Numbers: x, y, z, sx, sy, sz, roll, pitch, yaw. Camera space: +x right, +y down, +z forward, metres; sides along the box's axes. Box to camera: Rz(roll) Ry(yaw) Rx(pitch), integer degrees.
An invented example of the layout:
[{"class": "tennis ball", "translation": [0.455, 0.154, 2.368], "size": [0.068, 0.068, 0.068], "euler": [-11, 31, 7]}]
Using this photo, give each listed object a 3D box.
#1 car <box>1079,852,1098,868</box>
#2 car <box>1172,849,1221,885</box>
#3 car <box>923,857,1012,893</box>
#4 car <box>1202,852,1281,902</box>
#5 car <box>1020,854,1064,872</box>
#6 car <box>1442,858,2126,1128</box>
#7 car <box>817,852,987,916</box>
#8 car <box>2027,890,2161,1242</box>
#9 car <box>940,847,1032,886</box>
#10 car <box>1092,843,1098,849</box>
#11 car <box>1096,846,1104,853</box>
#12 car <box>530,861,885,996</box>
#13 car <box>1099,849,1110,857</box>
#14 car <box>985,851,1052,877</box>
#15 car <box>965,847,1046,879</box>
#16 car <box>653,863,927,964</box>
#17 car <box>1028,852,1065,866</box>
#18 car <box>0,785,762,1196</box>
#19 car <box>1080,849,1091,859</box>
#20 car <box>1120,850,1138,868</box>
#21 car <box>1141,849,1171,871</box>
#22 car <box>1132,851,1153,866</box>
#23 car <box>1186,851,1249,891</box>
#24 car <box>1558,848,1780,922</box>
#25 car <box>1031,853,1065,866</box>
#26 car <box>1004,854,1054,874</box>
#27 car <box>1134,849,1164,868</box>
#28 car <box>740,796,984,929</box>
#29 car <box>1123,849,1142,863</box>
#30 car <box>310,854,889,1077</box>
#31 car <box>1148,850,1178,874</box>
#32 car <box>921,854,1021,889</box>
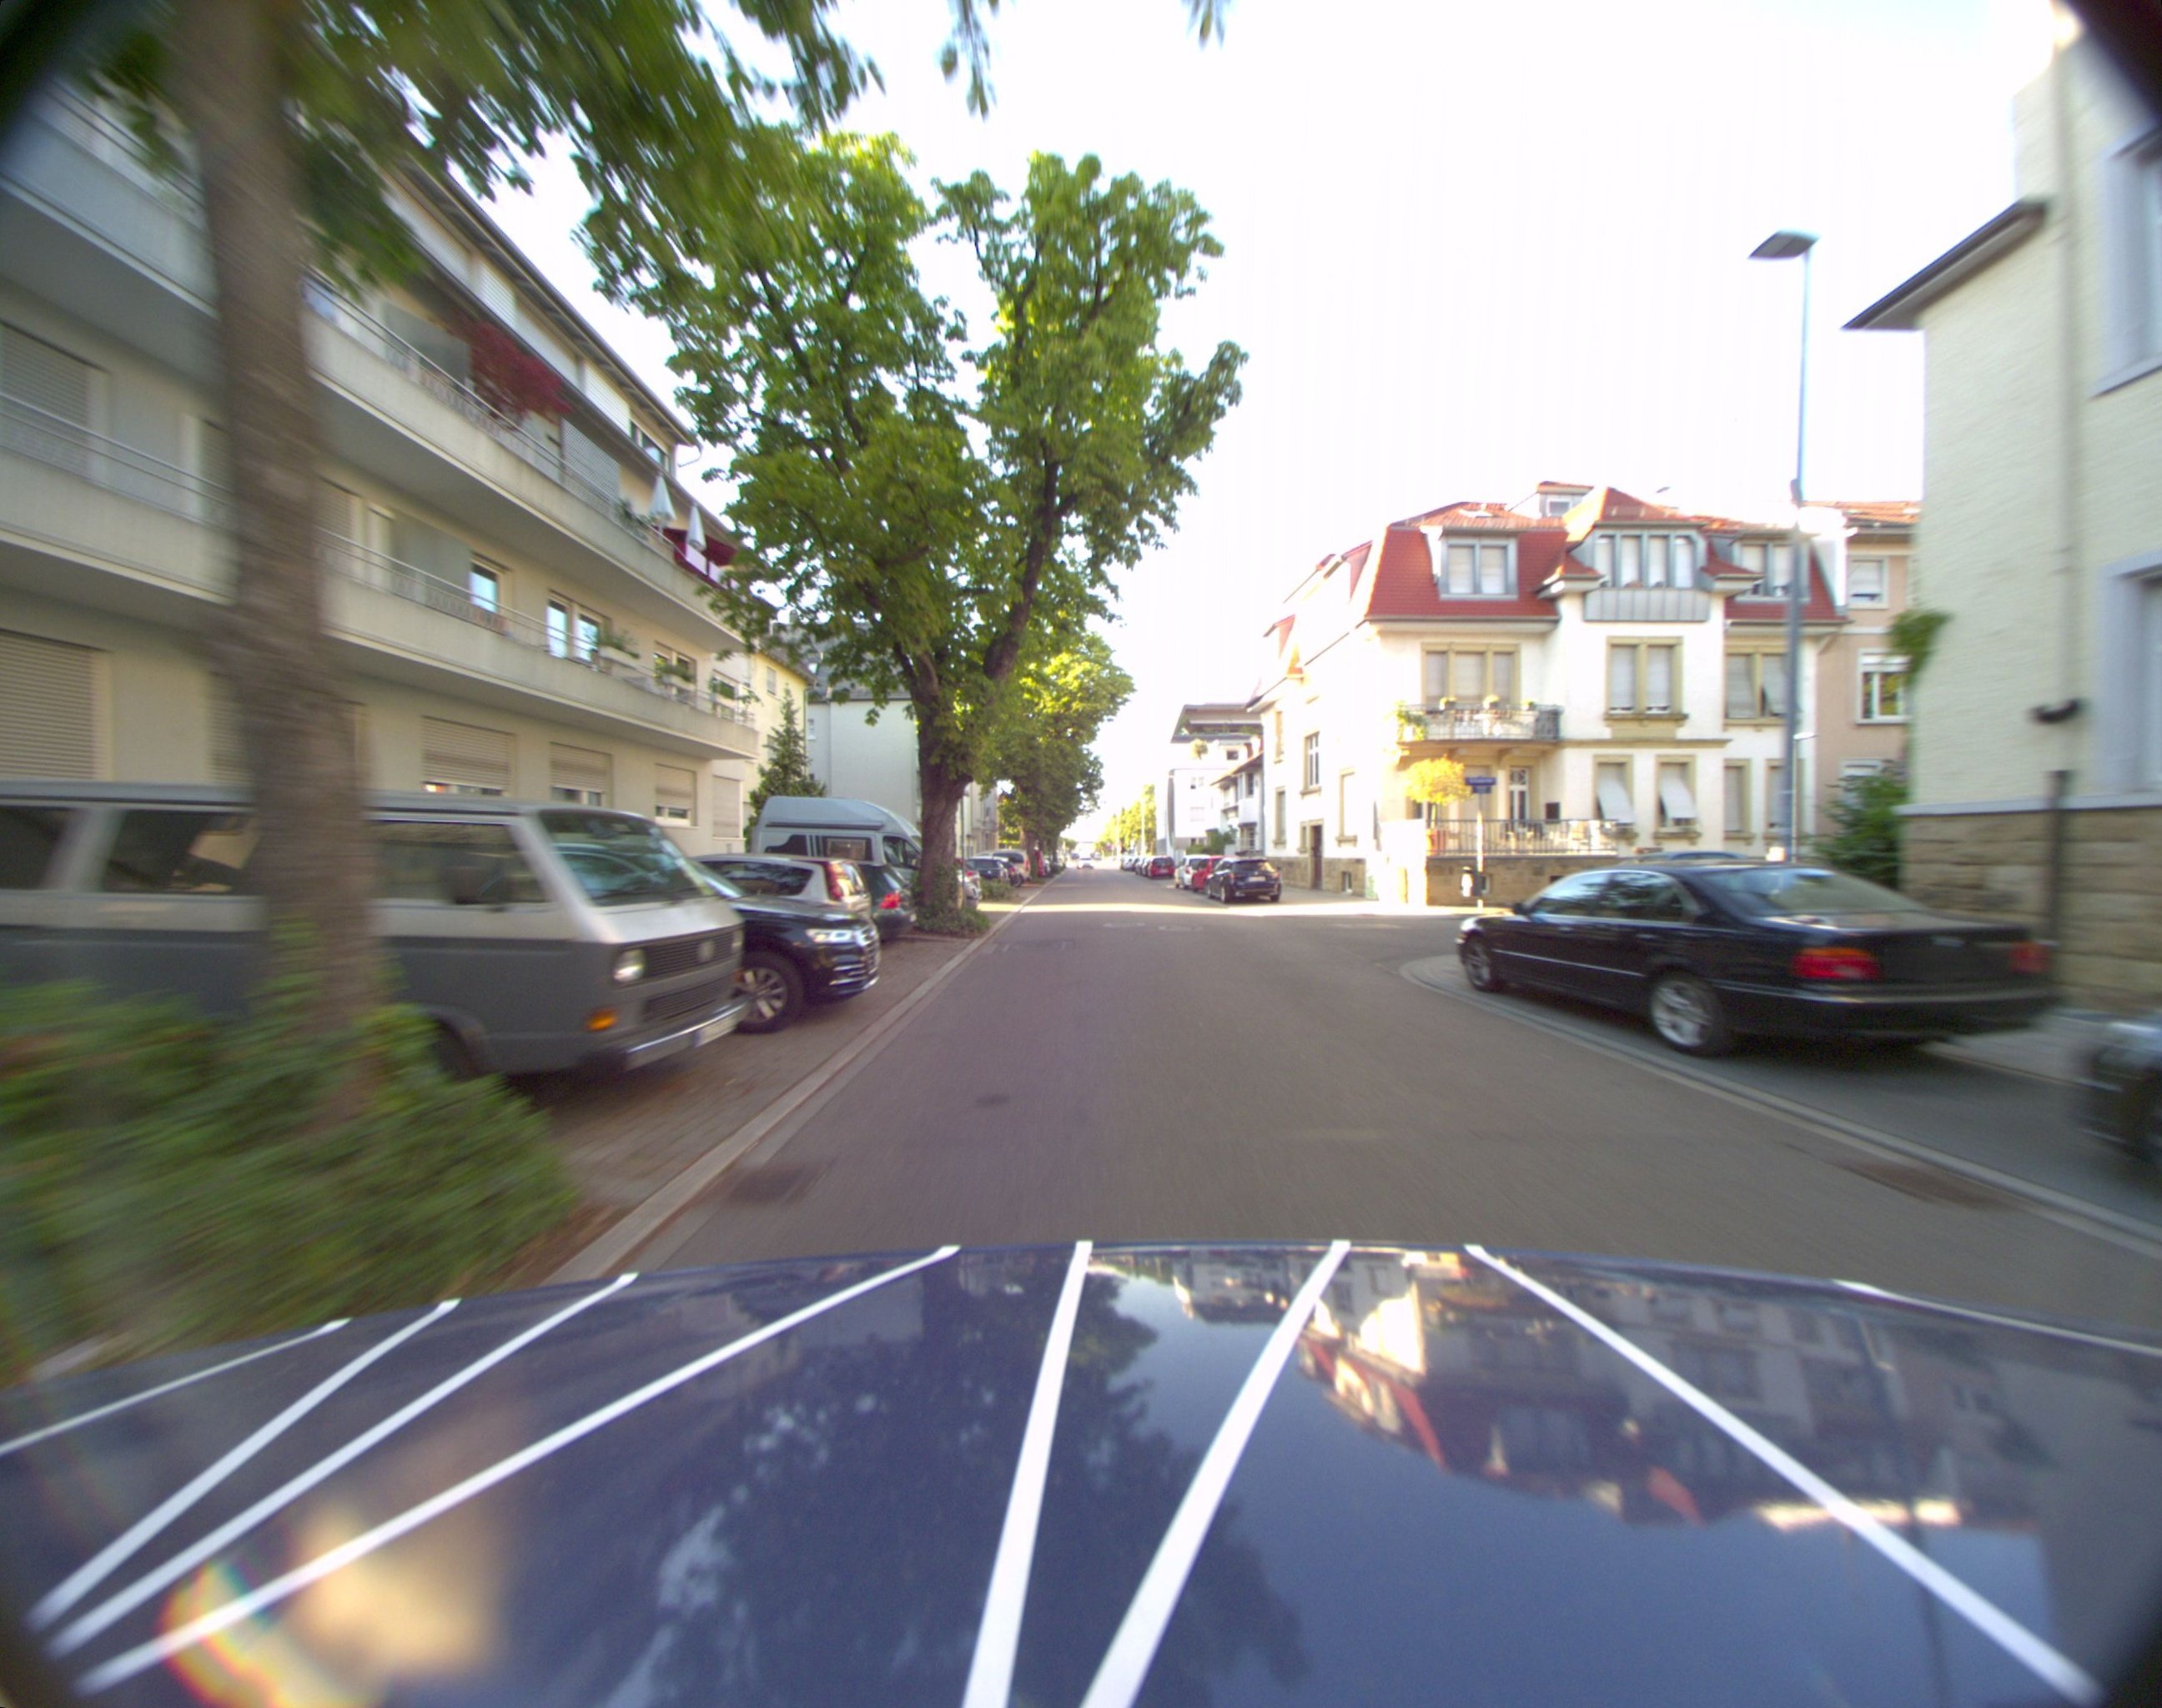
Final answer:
[{"class": "car", "translation": [0.915, 0.697, 90.683], "size": [2.098, 1.701, 4.605], "euler": [-1, 1, -1]}, {"class": "car", "translation": [5.241, 0.564, 34.823], "size": [1.585, 1.512, 3.705], "euler": [-2, 1, -1]}, {"class": "car", "translation": [-4.695, 0.847, 31.677], "size": [3.411, 1.419, 1.758], "euler": [1, 1, 0]}, {"class": "car", "translation": [5.228, 0.679, 25.266], "size": [1.657, 1.446, 4.630], "euler": [-2, 1, 0]}, {"class": "car", "translation": [-3.276, 0.765, 64.475], "size": [3.680, 1.434, 1.601], "euler": [0, 1, 0]}, {"class": "car", "translation": [5.236, 0.825, 6.763], "size": [1.714, 1.461, 4.632], "euler": [-2, 1, -2]}, {"class": "car", "translation": [-4.769, 0.787, 20.682], "size": [4.200, 1.559, 1.758], "euler": [1, 1, -1]}, {"class": "car", "translation": [5.269, 0.882, 1.475], "size": [1.658, 1.407, 4.167], "euler": [-2, 1, 0]}, {"class": "car", "translation": [-4.571, 0.586, 37.023], "size": [4.313, 1.874, 1.758], "euler": [0, 2, -3]}, {"class": "car", "translation": [4.160, -2.419, 228.556], "size": [1.913, 1.679, 4.198], "euler": [-2, 1, 1]}, {"class": "car", "translation": [4.614, -1.033, 183.484], "size": [1.913, 1.679, 4.198], "euler": [-2, 1, 1]}, {"class": "car", "translation": [-4.615, 0.891, 9.775], "size": [3.729, 1.545, 1.639], "euler": [0, 1, 1]}, {"class": "car", "translation": [4.688, -0.224, 152.298], "size": [1.913, 1.679, 4.198], "euler": [-2, 1, 1]}, {"class": "car", "translation": [-4.101, 0.658, 50.474], "size": [4.207, 1.695, 1.792], "euler": [0, 1, 4]}, {"class": "car", "translation": [-4.626, 0.542, 47.179], "size": [4.819, 1.925, 1.950], "euler": [0, 1, 1]}, {"class": "car", "translation": [-4.535, 0.908, 12.283], "size": [3.730, 1.423, 1.758], "euler": [0, 2, -1]}, {"class": "car", "translation": [-3.697, 0.494, 80.378], "size": [3.828, 1.477, 1.600], "euler": [0, 1, -7]}, {"class": "car", "translation": [-4.632, 0.668, 4.689], "size": [4.481, 2.002, 1.895], "euler": [-1, 1, -2]}, {"class": "car", "translation": [0.789, -0.007, 136.689], "size": [1.913, 1.679, 4.198], "euler": [-2, 1, 1]}, {"class": "car", "translation": [5.602, 0.565, 89.150], "size": [1.913, 1.937, 4.198], "euler": [-2, 1, 1]}, {"class": "car", "translation": [5.450, 0.413, 55.452], "size": [1.742, 1.451, 4.378], "euler": [-2, 1, 0]}, {"class": "car", "translation": [5.835, 0.432, 72.684], "size": [1.723, 1.386, 3.907], "euler": [-2, 0, 2]}, {"class": "car", "translation": [5.409, 0.634, 30.466], "size": [1.586, 1.468, 3.705], "euler": [-2, 1, -4]}, {"class": "car", "translation": [13.309, 0.676, 17.342], "size": [3.773, 1.550, 1.761], "euler": [-1, -1, -4]}, {"class": "car", "translation": [-3.752, 0.594, 87.841], "size": [3.825, 1.477, 1.601], "euler": [0, 1, 0]}, {"class": "car", "translation": [-3.881, 0.733, 57.027], "size": [3.680, 1.488, 1.676], "euler": [0, 1, 0]}, {"class": "car", "translation": [5.420, 0.335, 61.296], "size": [1.743, 1.451, 4.563], "euler": [-2, 1, -3]}, {"class": "car", "translation": [-4.933, 0.196, 17.736], "size": [5.109, 2.885, 2.075], "euler": [0, 1, -2]}, {"class": "car", "translation": [5.289, 0.214, 77.860], "size": [1.723, 1.386, 3.907], "euler": [-2, 0, 2]}, {"class": "car", "translation": [-4.072, 0.884, 7.117], "size": [4.189, 1.714, 1.764], "euler": [0, 1, -7]}, {"class": "car", "translation": [5.320, 0.479, 49.663], "size": [1.654, 1.474, 3.429], "euler": [-2, 1, 2]}, {"class": "car", "translation": [-4.895, 0.779, 34.307], "size": [4.313, 1.532, 1.758], "euler": [0, 1, -3]}]
